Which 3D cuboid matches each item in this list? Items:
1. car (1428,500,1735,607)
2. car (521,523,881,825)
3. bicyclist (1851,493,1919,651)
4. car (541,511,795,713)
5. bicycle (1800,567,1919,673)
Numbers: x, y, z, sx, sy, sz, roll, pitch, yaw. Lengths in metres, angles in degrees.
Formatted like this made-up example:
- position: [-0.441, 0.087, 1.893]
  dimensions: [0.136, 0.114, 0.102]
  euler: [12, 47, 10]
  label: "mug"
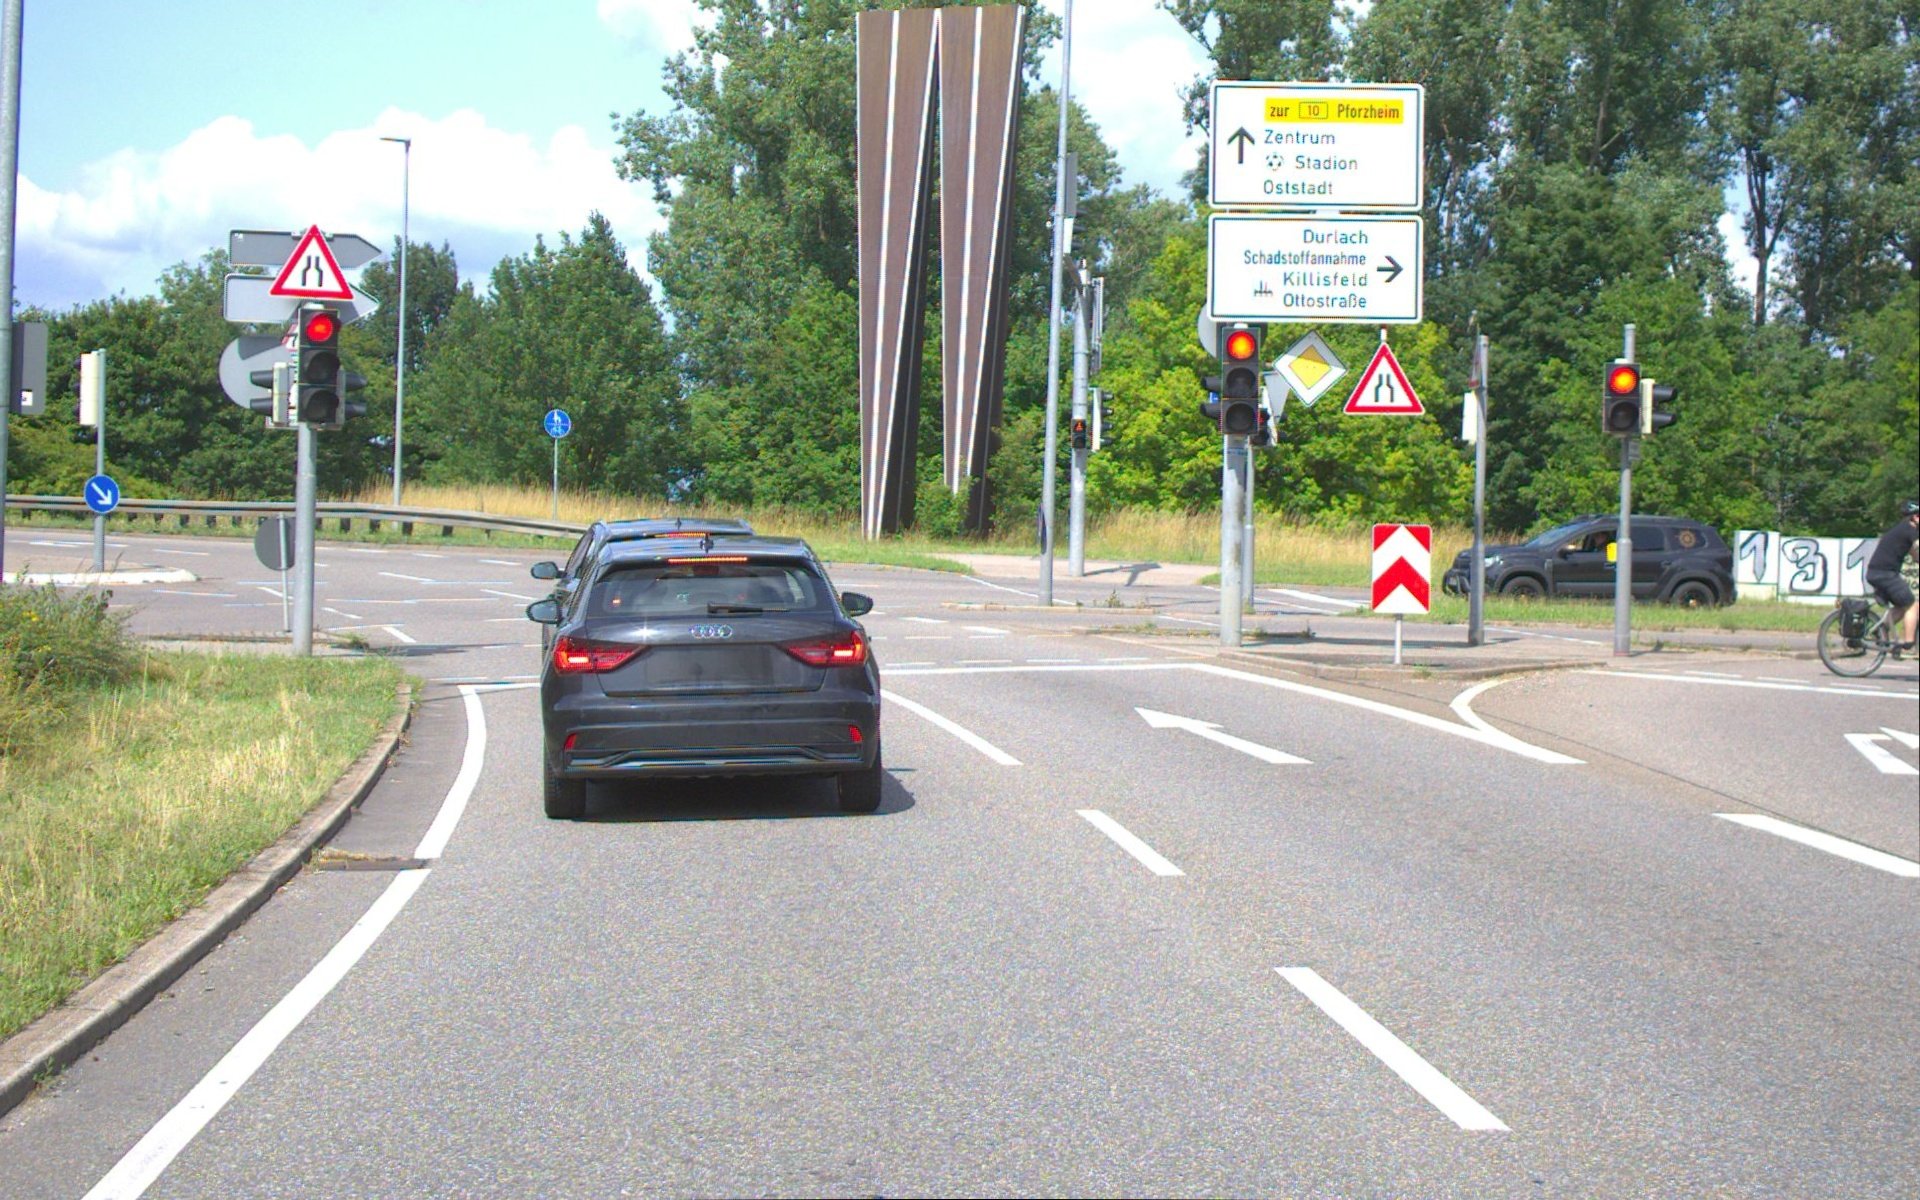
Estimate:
- position: [9.448, -0.718, 52.456]
  dimensions: [4.267, 1.539, 1.737]
  euler: [1, 2, -5]
  label: "car"
- position: [-1.418, 0.313, 18.728]
  dimensions: [1.726, 1.399, 4.001]
  euler: [-1, 2, -5]
  label: "car"
- position: [9.443, -0.278, 34.250]
  dimensions: [0.834, 1.555, 0.672]
  euler: [1, 1, -13]
  label: "bicyclist"
- position: [-2.356, 0.035, 26.982]
  dimensions: [1.726, 1.418, 3.846]
  euler: [-1, 2, -8]
  label: "car"
- position: [9.487, 0.204, 34.267]
  dimensions: [2.052, 1.020, 0.672]
  euler: [1, 1, -13]
  label: "bicycle"
